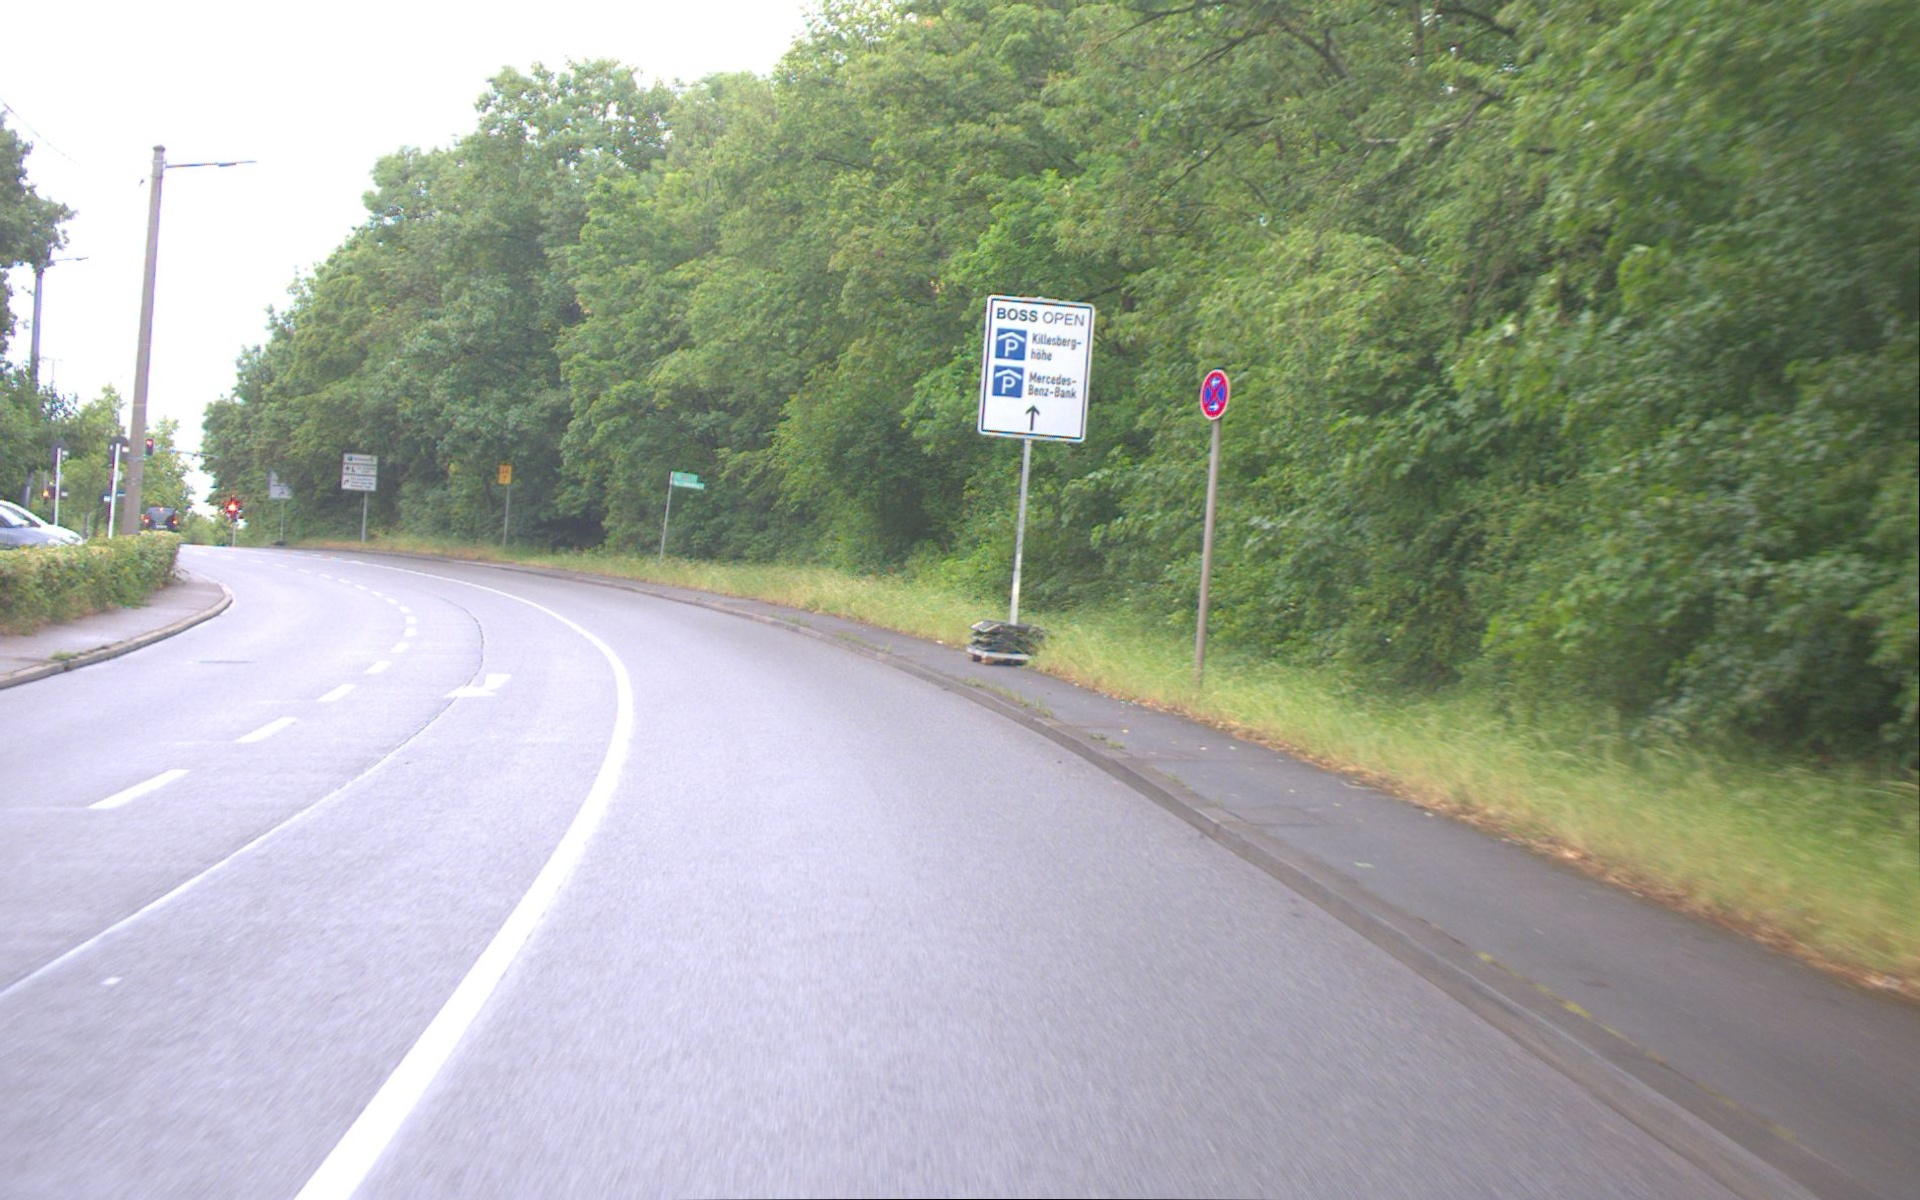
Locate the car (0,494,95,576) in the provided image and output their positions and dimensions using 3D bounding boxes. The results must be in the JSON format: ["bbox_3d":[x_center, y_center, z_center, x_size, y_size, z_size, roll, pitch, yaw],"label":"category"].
[{"bbox_3d":[-19.651,-1.370,70.465,3.644,1.586,1.852,2,1,-13],"label":"car"}]

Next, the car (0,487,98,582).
[{"bbox_3d":[-18.623,-1.290,64.900,4.290,1.702,2.001,2,1,-7],"label":"car"}]

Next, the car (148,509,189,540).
[{"bbox_3d":[-40.009,-3.836,173.799,1.934,1.493,4.319,2,1,-13],"label":"car"}]
